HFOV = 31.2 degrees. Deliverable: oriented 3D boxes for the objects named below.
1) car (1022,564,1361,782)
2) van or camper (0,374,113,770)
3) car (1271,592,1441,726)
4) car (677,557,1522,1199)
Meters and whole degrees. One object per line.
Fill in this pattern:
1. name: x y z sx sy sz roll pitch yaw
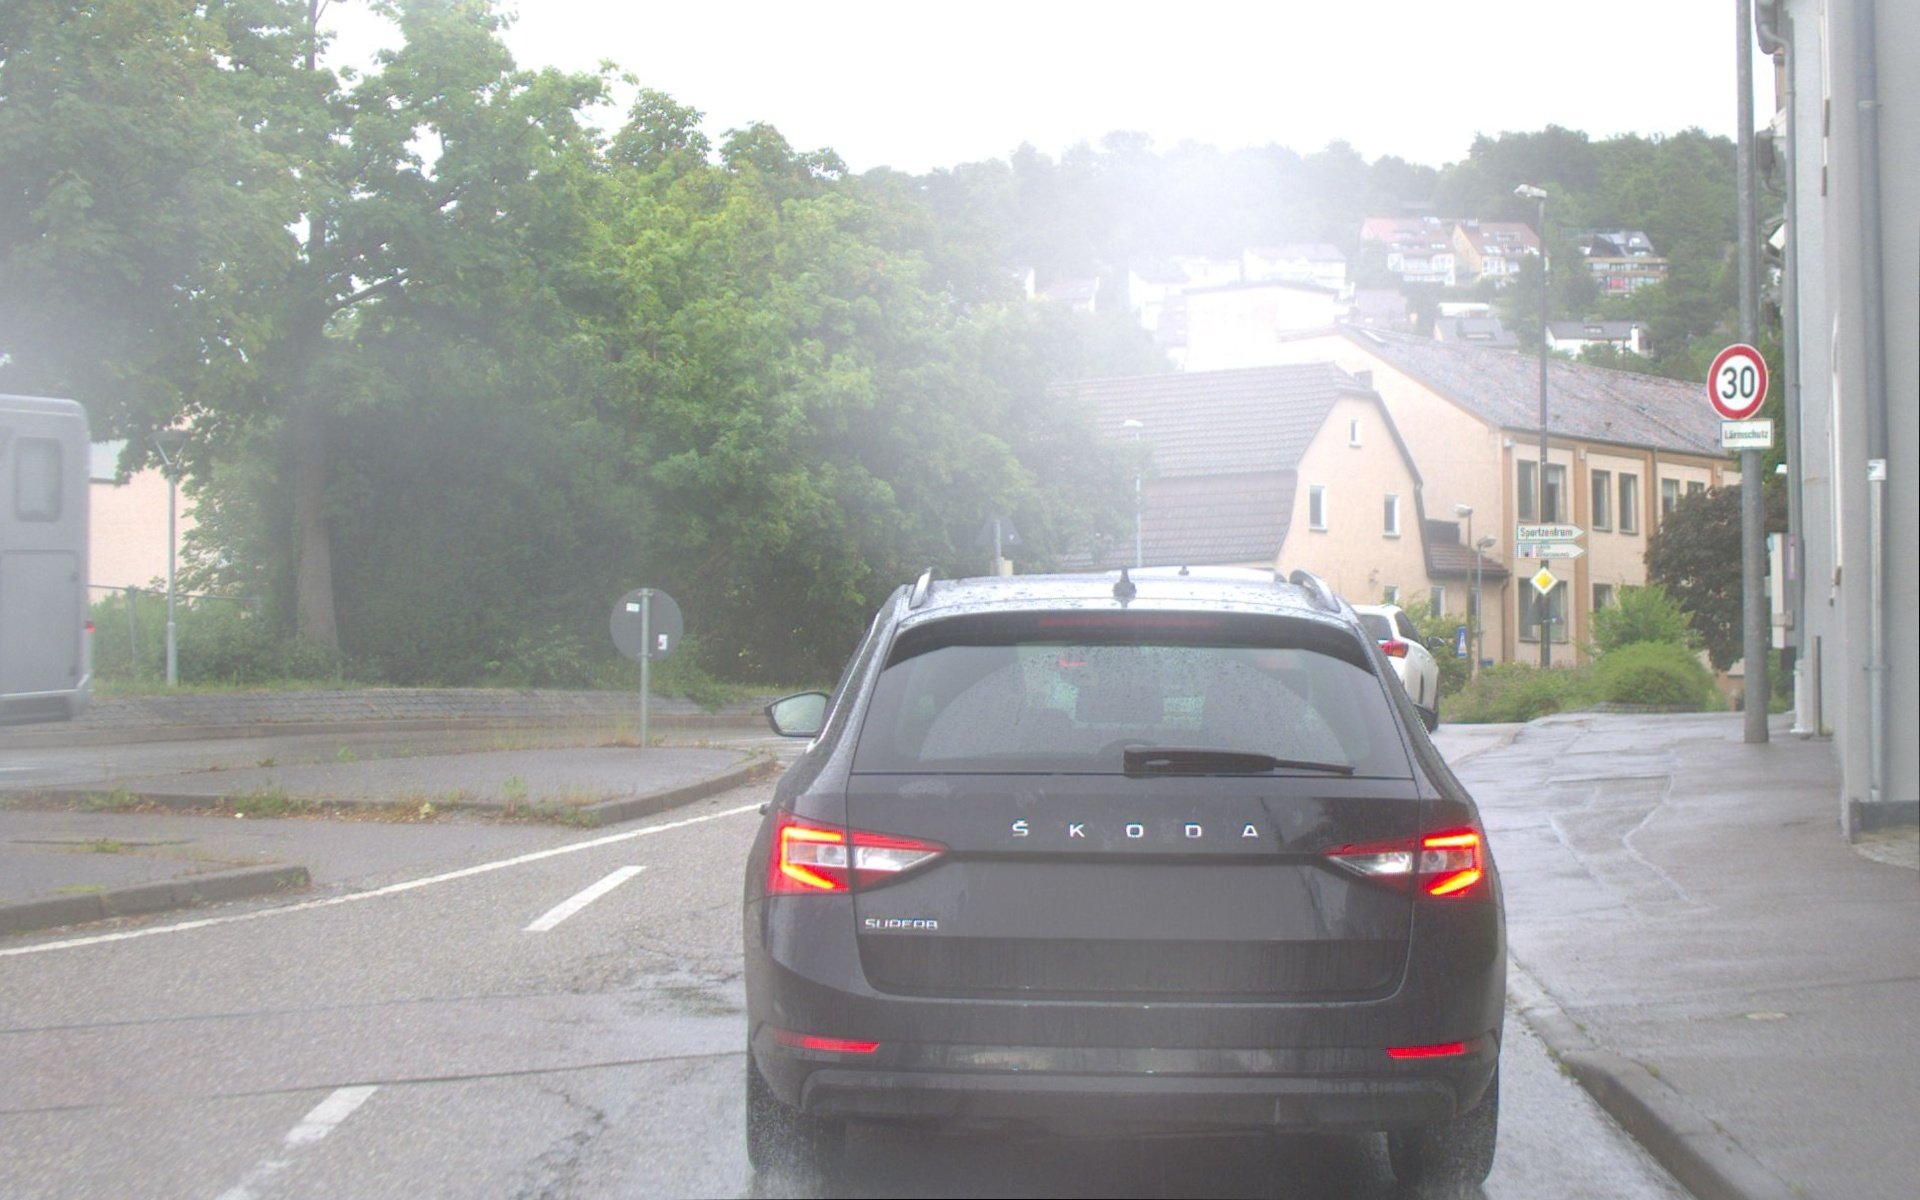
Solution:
1. car: 1.687 0.553 23.778 1.819 1.355 3.987 -1 -3 11
2. van or camper: -8.135 -0.186 21.370 2.369 2.647 7.014 0 0 16
3. car: 4.560 0.636 39.217 1.653 1.382 3.918 0 1 11
4. car: 0.306 0.645 9.445 1.782 1.478 4.246 1 0 0
